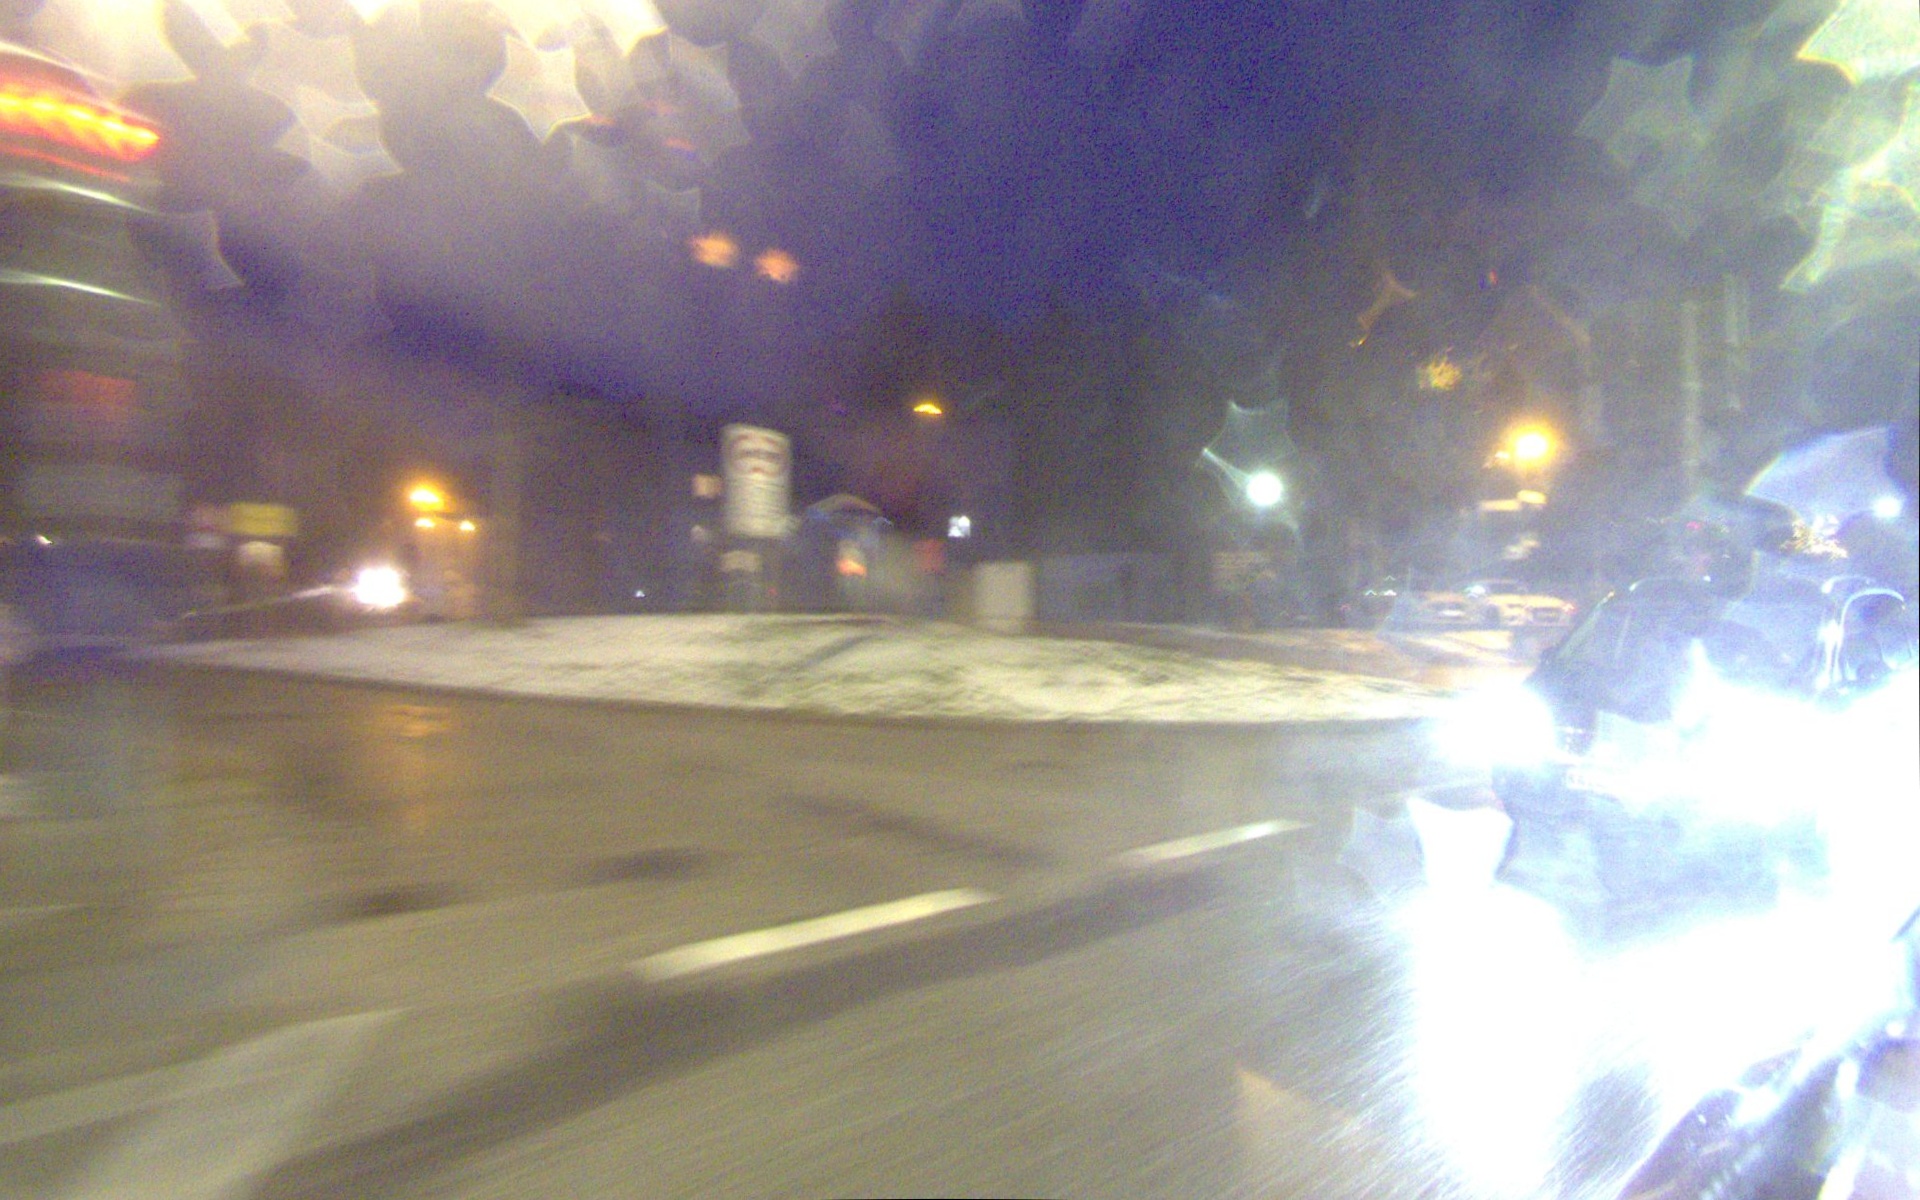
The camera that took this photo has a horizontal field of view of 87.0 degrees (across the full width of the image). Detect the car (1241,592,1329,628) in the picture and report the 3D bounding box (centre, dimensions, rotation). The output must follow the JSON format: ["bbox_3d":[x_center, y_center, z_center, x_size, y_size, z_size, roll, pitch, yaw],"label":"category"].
[{"bbox_3d":[12.632,0.397,39.584,1.626,1.301,4.005,0,-1,-9],"label":"car"}]

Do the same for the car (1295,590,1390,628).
[{"bbox_3d":[14.869,0.371,39.541,1.693,1.401,4.005,0,-1,-9],"label":"car"}]

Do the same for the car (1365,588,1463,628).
[{"bbox_3d":[17.393,0.320,39.020,1.809,1.448,4.001,0,-1,-3],"label":"car"}]

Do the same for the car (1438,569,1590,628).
[{"bbox_3d":[14.933,-0.023,27.582,1.817,1.478,4.339,0,-1,1],"label":"car"}]

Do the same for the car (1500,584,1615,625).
[{"bbox_3d":[23.170,0.192,39.433,1.728,1.506,3.953,0,-1,-9],"label":"car"}]

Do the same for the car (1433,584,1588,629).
[{"bbox_3d":[19.149,0.229,35.272,4.610,1.502,1.729,0,-1,-8],"label":"car"}]

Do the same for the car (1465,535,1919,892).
[{"bbox_3d":[5.657,0.585,7.271,4.853,1.757,1.838,1,-1,-40],"label":"car"}]

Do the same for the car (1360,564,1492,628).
[{"bbox_3d":[12.449,-0.085,27.323,1.799,1.594,3.886,0,-1,1],"label":"car"}]
